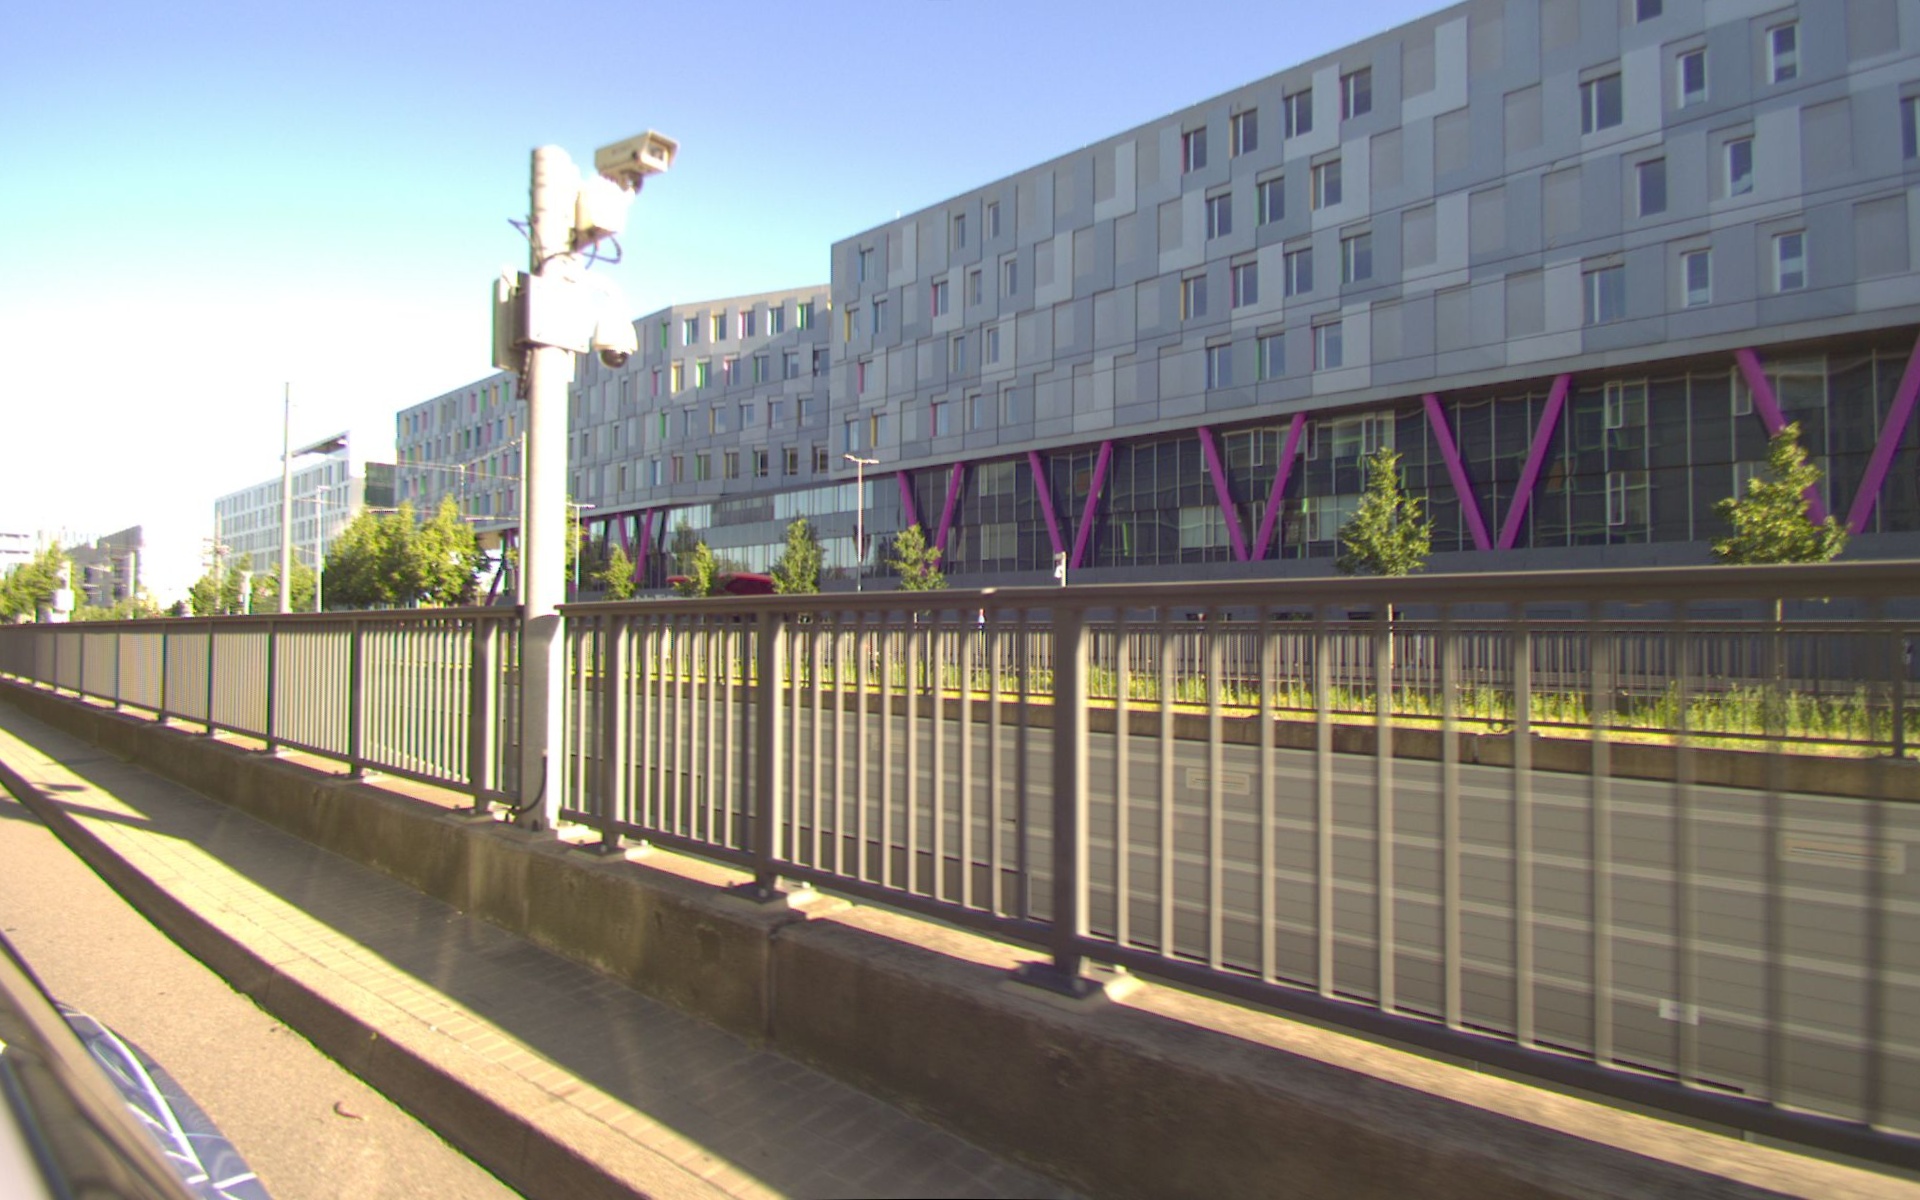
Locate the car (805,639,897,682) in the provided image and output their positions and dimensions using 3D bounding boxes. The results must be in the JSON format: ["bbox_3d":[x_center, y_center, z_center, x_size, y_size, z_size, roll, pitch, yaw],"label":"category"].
[{"bbox_3d":[-4.978,2.728,46.074,3.998,1.853,1.972,-2,-4,41],"label":"car"}]

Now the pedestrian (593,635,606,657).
[{"bbox_3d":[-30.569,3.902,85.786,0.871,1.836,0.713,-3,-3,42],"label":"pedestrian"}]

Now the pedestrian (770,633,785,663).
[{"bbox_3d":[-12.765,3.343,70.791,0.689,2.029,0.728,-2,-3,42],"label":"pedestrian"}]

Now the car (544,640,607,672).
[{"bbox_3d":[-23.509,3.414,61.823,3.998,1.853,1.972,-2,-4,41],"label":"car"}]

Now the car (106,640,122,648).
[{"bbox_3d":[-159.138,8.251,190.424,4.000,1.365,1.850,-2,-1,43],"label":"car"}]
